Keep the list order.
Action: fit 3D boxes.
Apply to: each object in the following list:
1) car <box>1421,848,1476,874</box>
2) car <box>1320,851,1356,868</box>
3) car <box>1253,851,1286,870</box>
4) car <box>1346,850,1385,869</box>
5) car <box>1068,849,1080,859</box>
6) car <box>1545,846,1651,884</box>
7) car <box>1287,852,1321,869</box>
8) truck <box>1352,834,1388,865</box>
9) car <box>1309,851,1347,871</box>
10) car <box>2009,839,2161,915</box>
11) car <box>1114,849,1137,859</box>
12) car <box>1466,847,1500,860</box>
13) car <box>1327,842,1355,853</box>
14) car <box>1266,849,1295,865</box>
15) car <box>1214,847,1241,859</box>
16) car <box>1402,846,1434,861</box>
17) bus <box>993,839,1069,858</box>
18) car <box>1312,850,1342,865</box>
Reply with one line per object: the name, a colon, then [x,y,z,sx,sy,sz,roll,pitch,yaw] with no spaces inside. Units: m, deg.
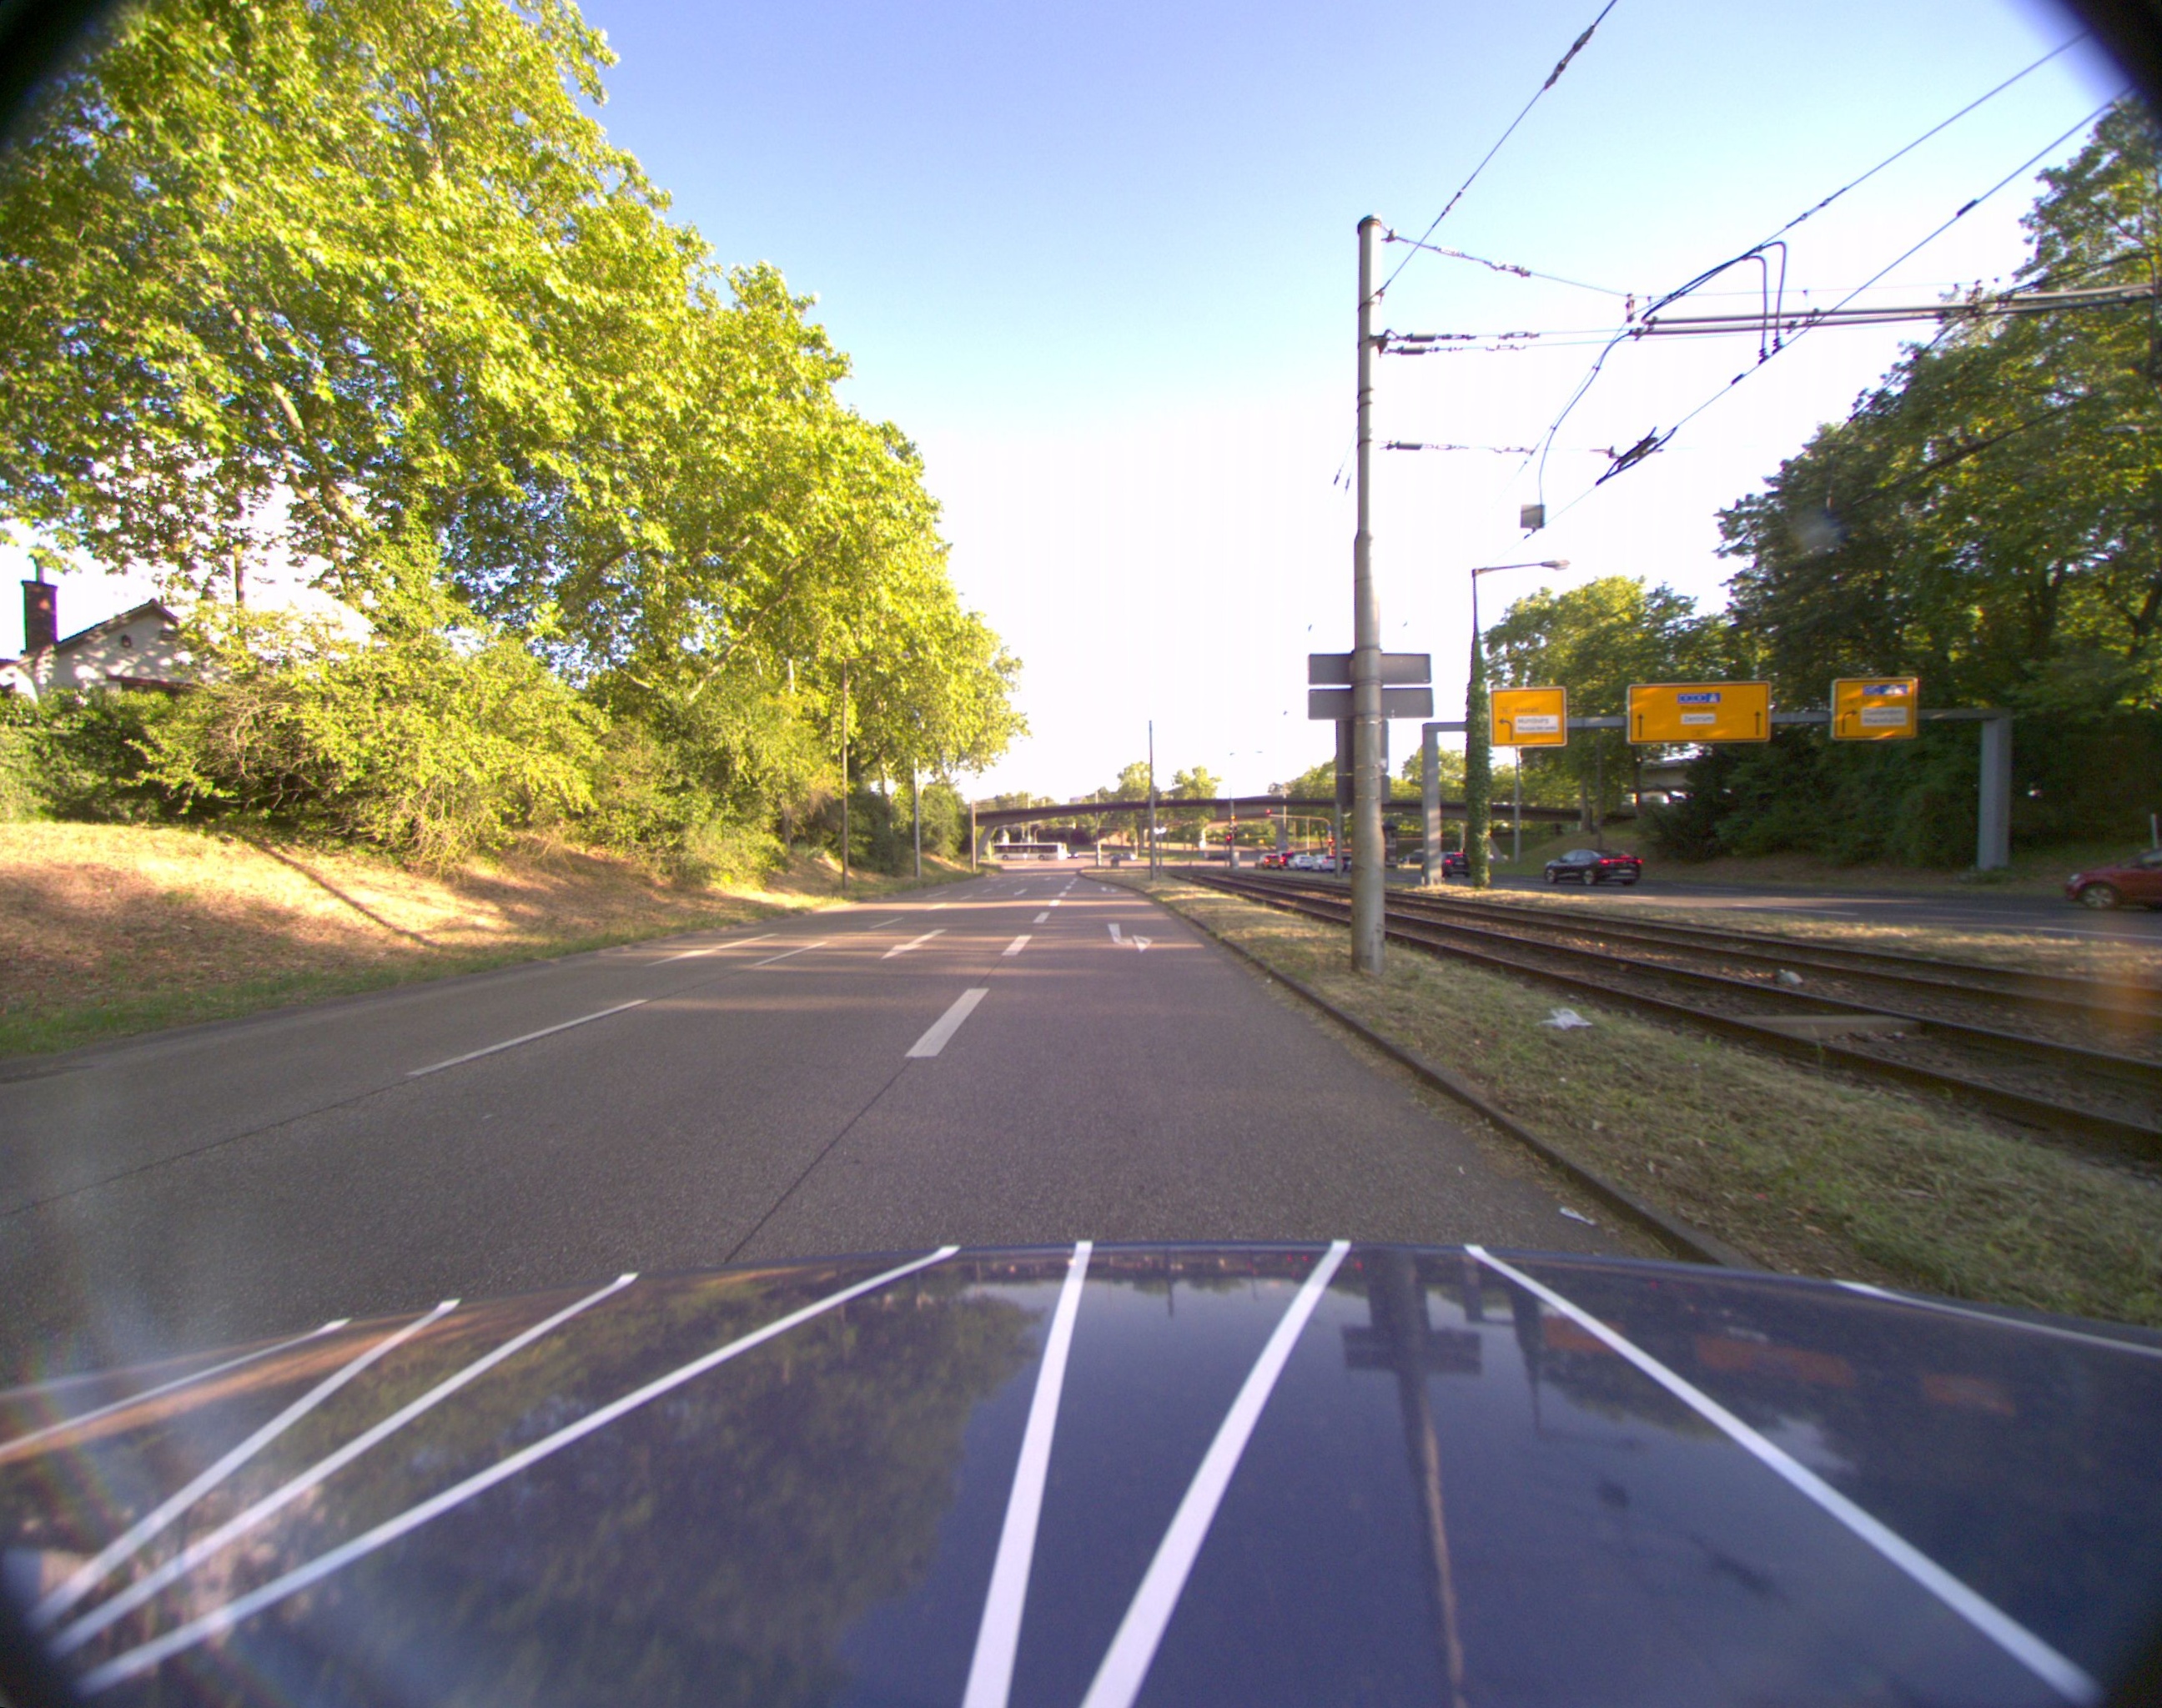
car: [22.851,0.432,47.386,1.755,1.548,3.974,0,0,4]
car: [23.736,0.494,70.216,1.868,1.416,4.226,-1,0,0]
car: [16.145,0.503,65.242,1.767,1.535,4.000,-1,0,0]
car: [23.965,0.423,64.079,1.813,1.535,4.000,-1,0,1]
car: [-1.262,0.018,141.885,1.905,1.726,3.998,-2,0,-5]
car: [22.554,0.441,33.369,1.735,1.536,4.334,-1,0,1]
car: [19.914,0.540,68.091,1.918,1.416,4.227,-1,0,2]
truck: [28.380,-0.442,74.806,2.281,2.862,6.886,-1,0,13]
car: [20.025,0.538,61.812,1.767,1.535,4.000,-1,0,0]
car: [23.970,0.476,16.649,1.843,1.625,4.309,0,0,-5]
car: [7.259,-0.014,123.939,3.364,1.560,1.613,-2,0,17]
car: [53.603,-0.059,101.311,3.804,1.570,1.679,-2,1,24]
car: [38.462,-0.979,112.383,3.868,1.403,1.814,-2,1,20]
car: [19.579,0.260,74.748,1.917,1.540,4.227,-1,0,4]
car: [22.691,-0.190,117.773,3.868,1.655,1.814,-2,1,21]
car: [46.136,-0.100,104.009,3.805,1.848,1.679,-2,1,20]
bus: [-8.599,-0.960,130.236,13.163,2.846,2.420,-2,1,22]
car: [24.946,0.368,77.175,1.917,1.416,4.228,-1,0,5]
